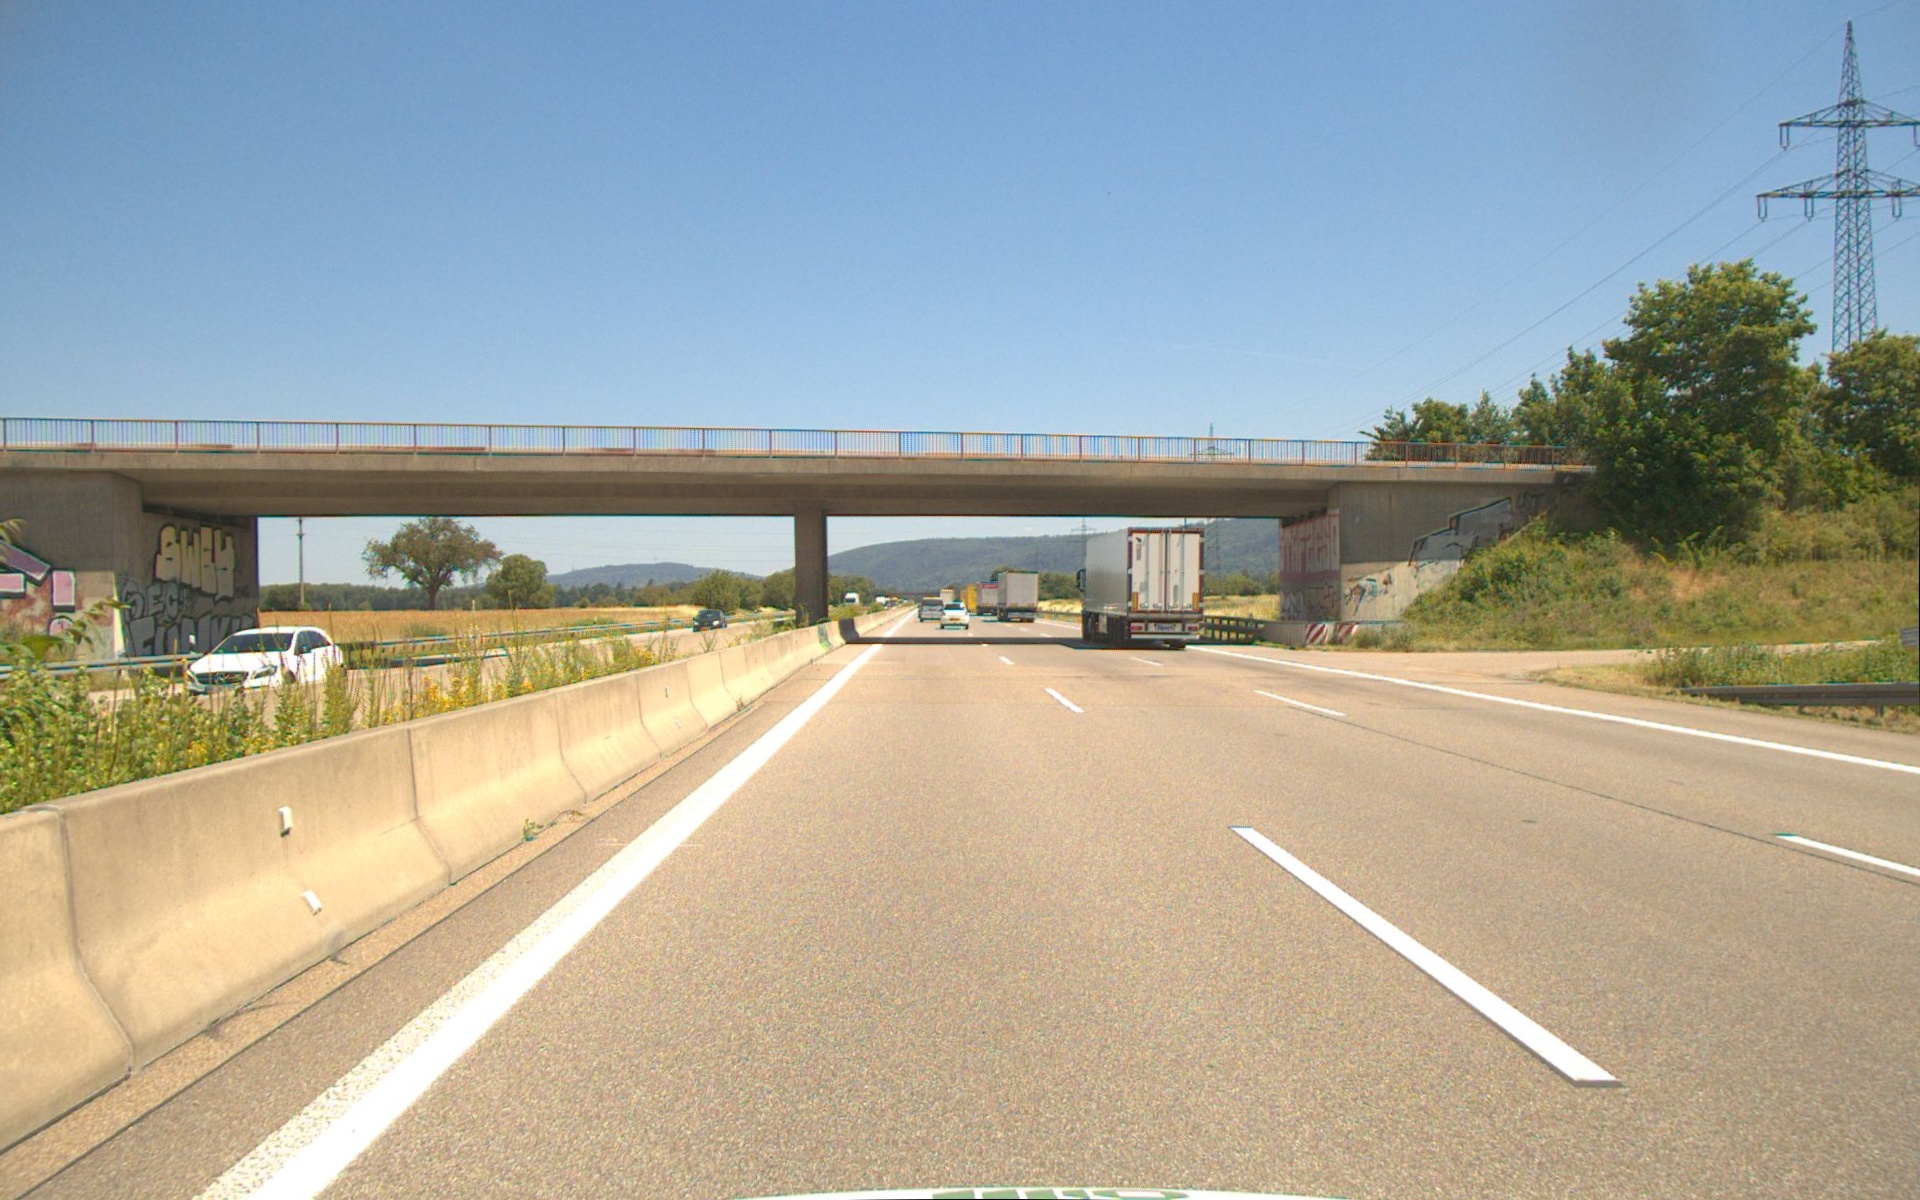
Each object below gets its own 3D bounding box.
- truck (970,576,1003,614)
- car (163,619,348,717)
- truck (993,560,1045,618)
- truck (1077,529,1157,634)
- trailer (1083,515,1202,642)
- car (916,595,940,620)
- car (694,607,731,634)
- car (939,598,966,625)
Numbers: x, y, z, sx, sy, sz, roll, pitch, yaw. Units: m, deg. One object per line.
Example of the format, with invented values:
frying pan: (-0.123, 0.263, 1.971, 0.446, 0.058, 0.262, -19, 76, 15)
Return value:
truck: (3.178, -0.621, 205.280, 3.449, 4.493, 14.587, -1, 0, -1)
car: (-13.064, 1.209, 30.908, 1.770, 1.571, 3.876, -3, 0, -1)
truck: (4.865, -0.870, 138.994, 3.449, 4.493, 14.587, -1, 0, -1)
truck: (6.564, -0.744, 69.863, 2.738, 4.237, 5.721, 1, 0, -1)
trailer: (6.661, -0.732, 62.655, 2.738, 4.236, 13.953, 1, 0, -1)
car: (-2.466, 0.590, 128.766, 1.725, 1.883, 4.000, -1, 0, 0)
car: (-14.749, 1.221, 98.822, 1.639, 1.545, 4.098, -2, 0, -1)
car: (-0.434, 0.681, 97.263, 1.574, 1.493, 4.000, -1, 0, 0)
